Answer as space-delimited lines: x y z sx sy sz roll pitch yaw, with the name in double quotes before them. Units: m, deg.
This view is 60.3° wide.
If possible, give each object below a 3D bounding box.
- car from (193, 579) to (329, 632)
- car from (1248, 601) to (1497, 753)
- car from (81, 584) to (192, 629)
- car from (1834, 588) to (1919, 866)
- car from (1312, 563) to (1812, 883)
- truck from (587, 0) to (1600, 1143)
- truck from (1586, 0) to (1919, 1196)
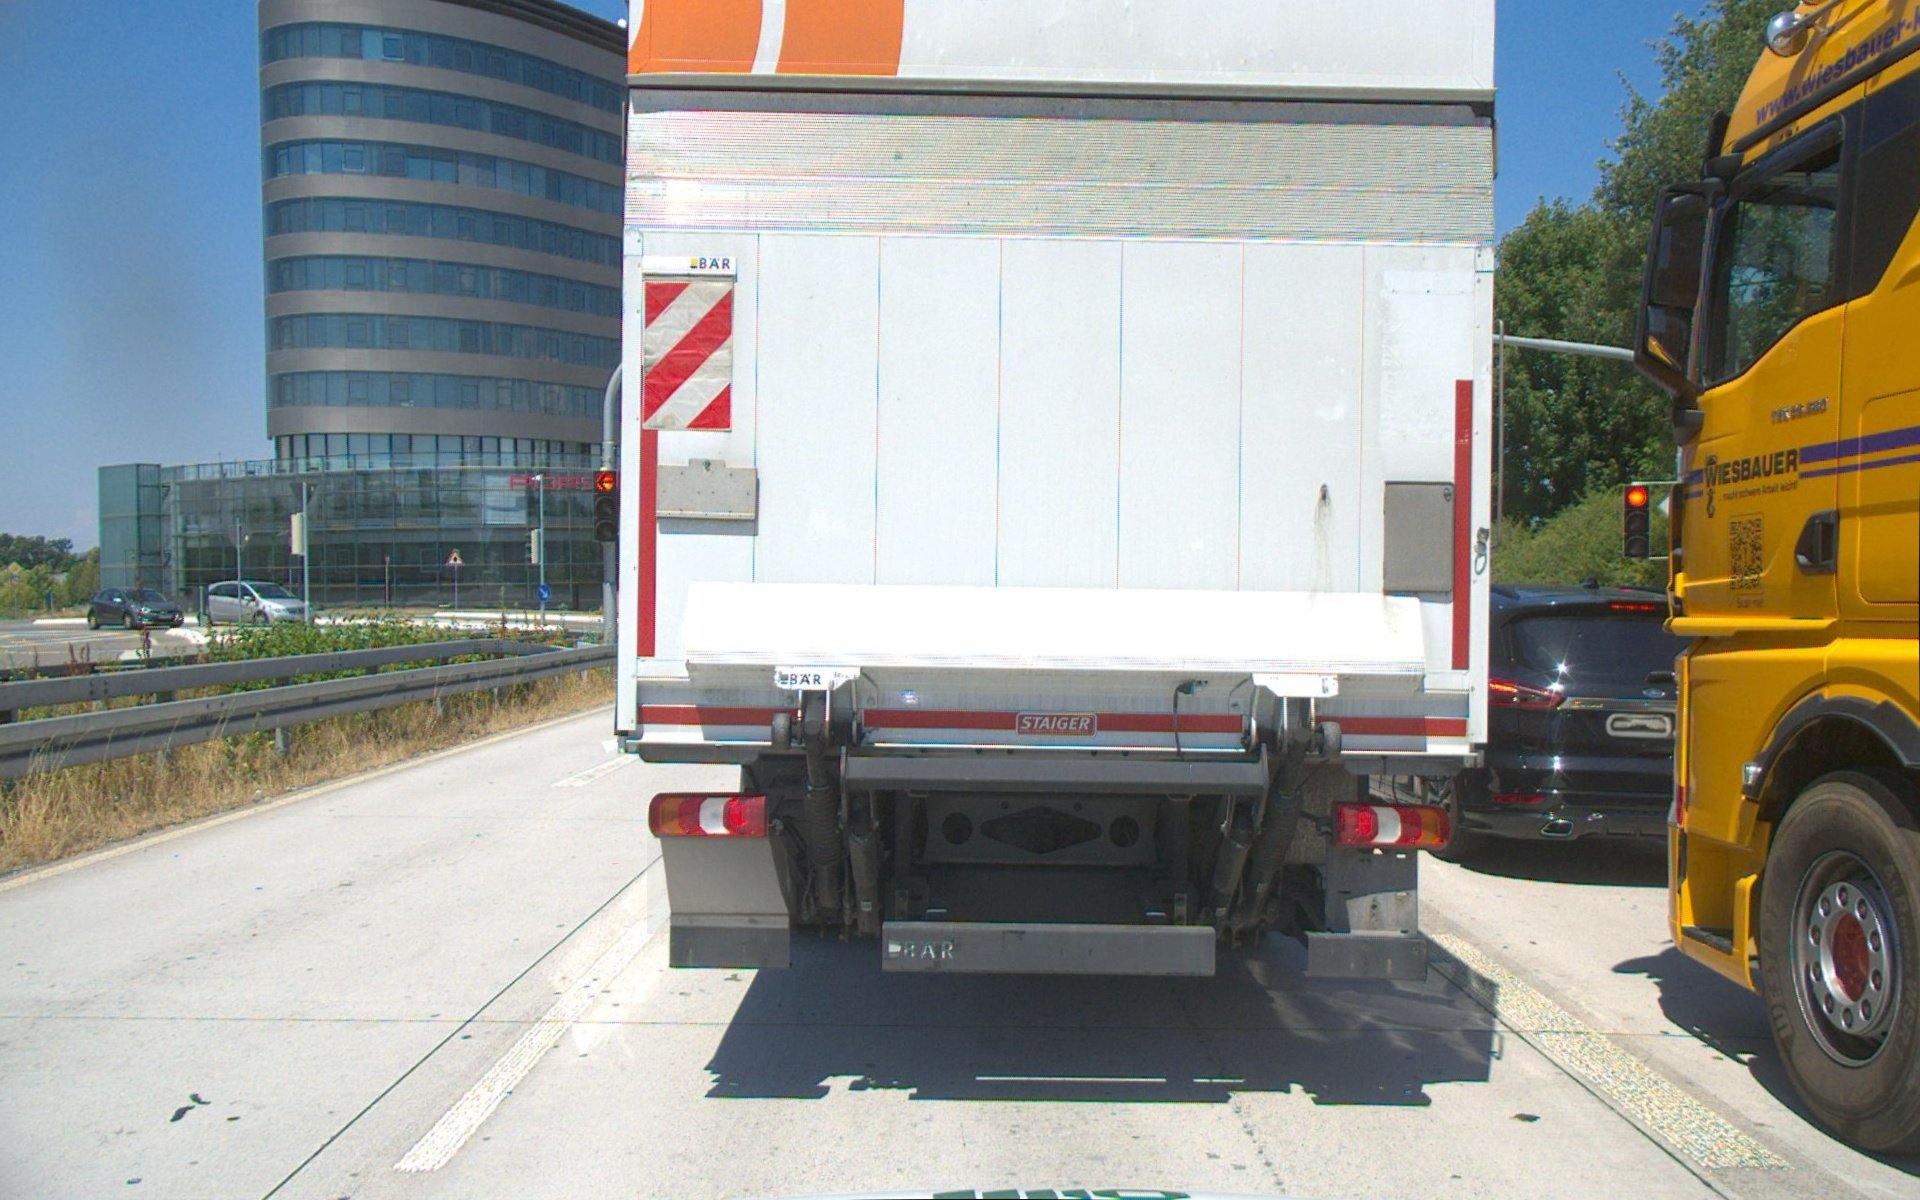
"car" -22.652 0.204 53.576 4.231 1.623 1.775 -1 -2 27
"car" 4.390 0.757 18.310 1.731 1.435 4.611 1 0 2
"car" -28.833 0.254 57.847 4.241 1.482 1.691 -2 -2 35
"car" 7.332 0.853 9.585 1.733 1.839 4.788 1 0 -4
"car" 3.699 0.664 11.130 1.747 1.668 4.648 1 0 1
"truck" 0.315 -0.488 9.182 2.713 3.927 9.368 1 0 -1
"truck" 3.951 -0.414 2.467 2.953 3.838 7.466 1 0 -2
